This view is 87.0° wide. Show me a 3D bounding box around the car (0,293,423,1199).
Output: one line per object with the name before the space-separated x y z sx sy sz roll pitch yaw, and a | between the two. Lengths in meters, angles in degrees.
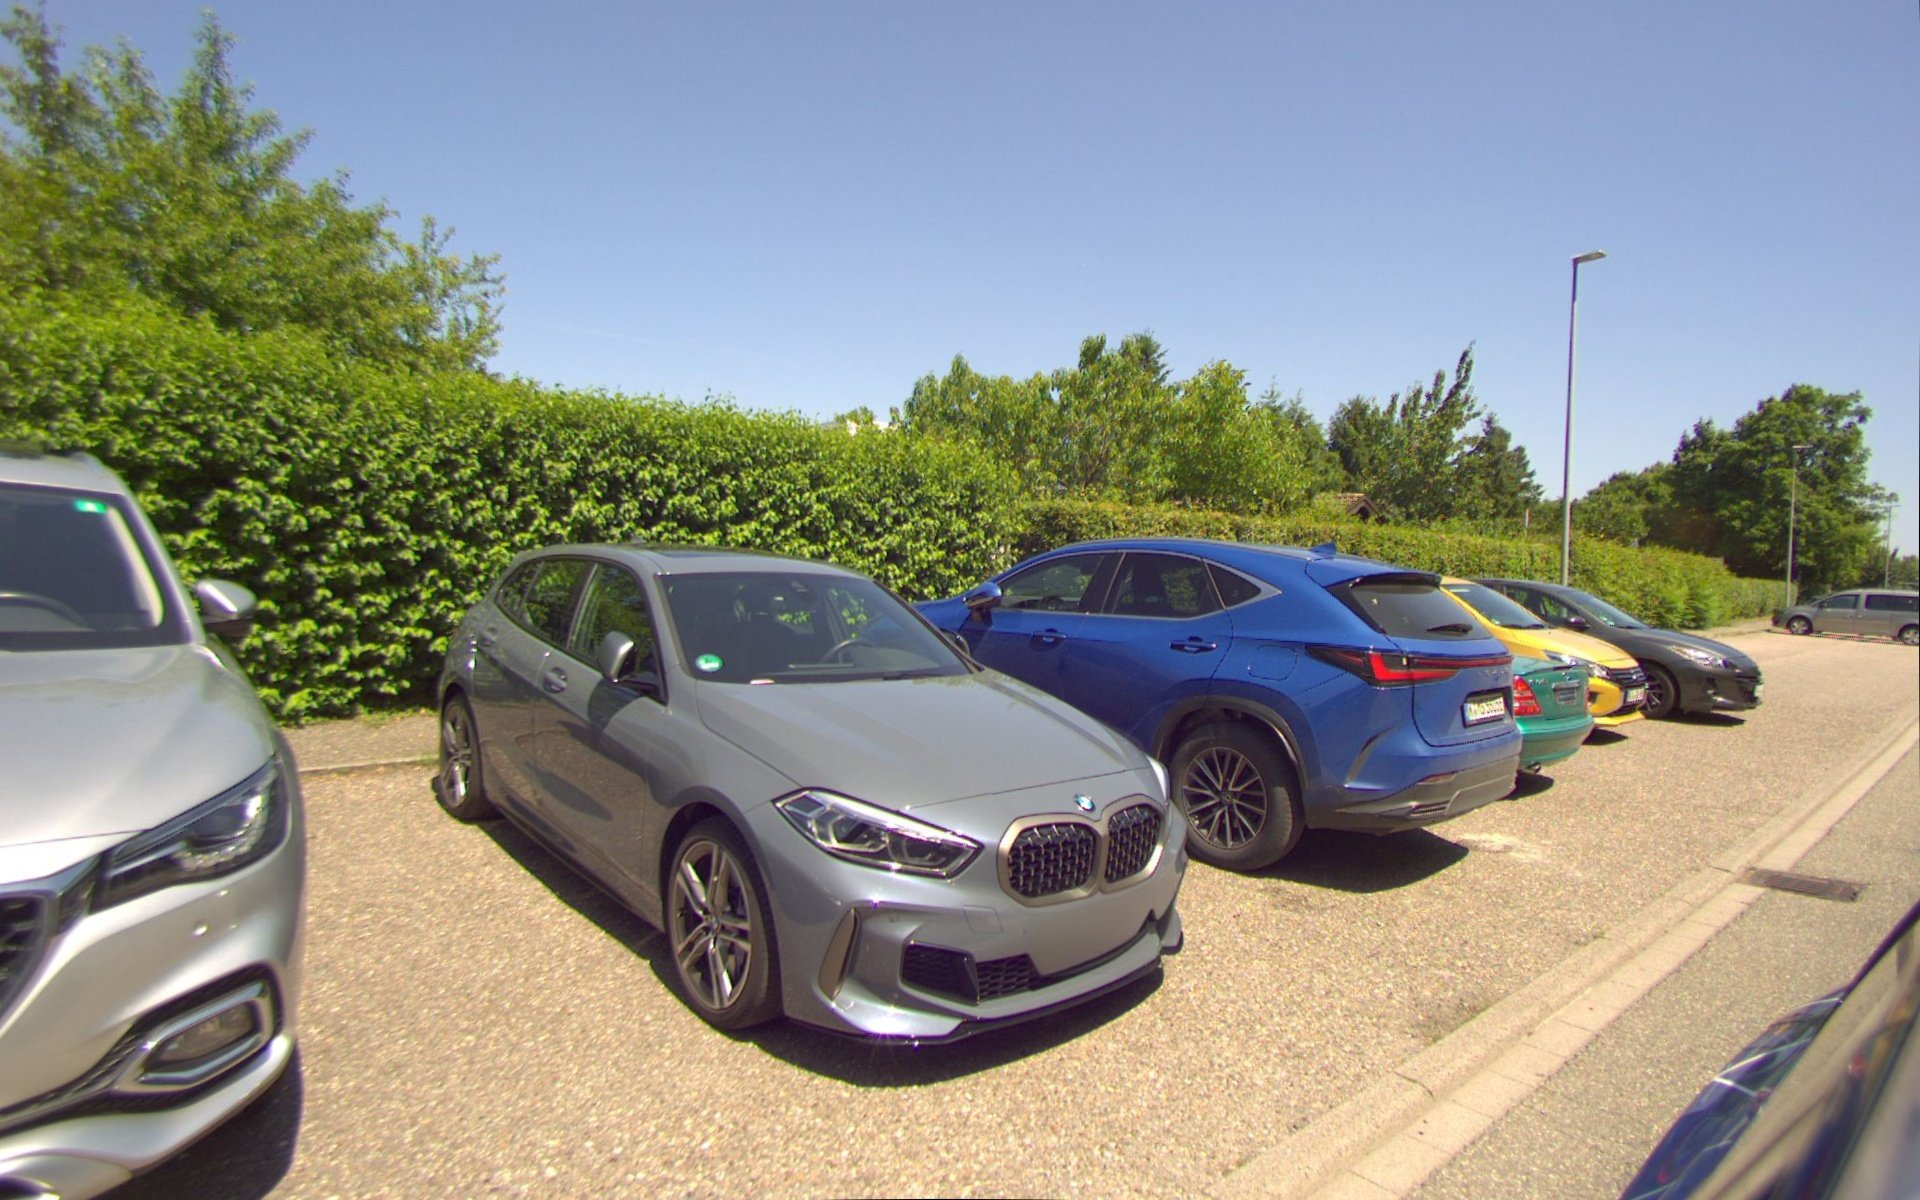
car | -3.103 0.238 2.791 1.868 1.673 4.244 -2 6 -43

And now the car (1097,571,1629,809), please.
car | 3.126 0.548 8.424 1.600 1.283 3.743 1 4 -42

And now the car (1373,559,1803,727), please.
car | 7.661 0.374 12.675 1.851 1.513 4.172 -1 5 -42

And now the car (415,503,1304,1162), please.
car | -0.870 0.403 4.505 1.784 1.456 4.139 -1 6 -42

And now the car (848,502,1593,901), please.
car | 1.285 0.275 6.432 1.792 1.653 4.246 0 5 -42

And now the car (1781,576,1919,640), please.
car | 31.812 0.274 35.296 1.962 1.870 4.629 1 4 -43

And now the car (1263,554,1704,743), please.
car | 5.410 0.363 10.955 1.740 1.472 3.819 0 5 -33
